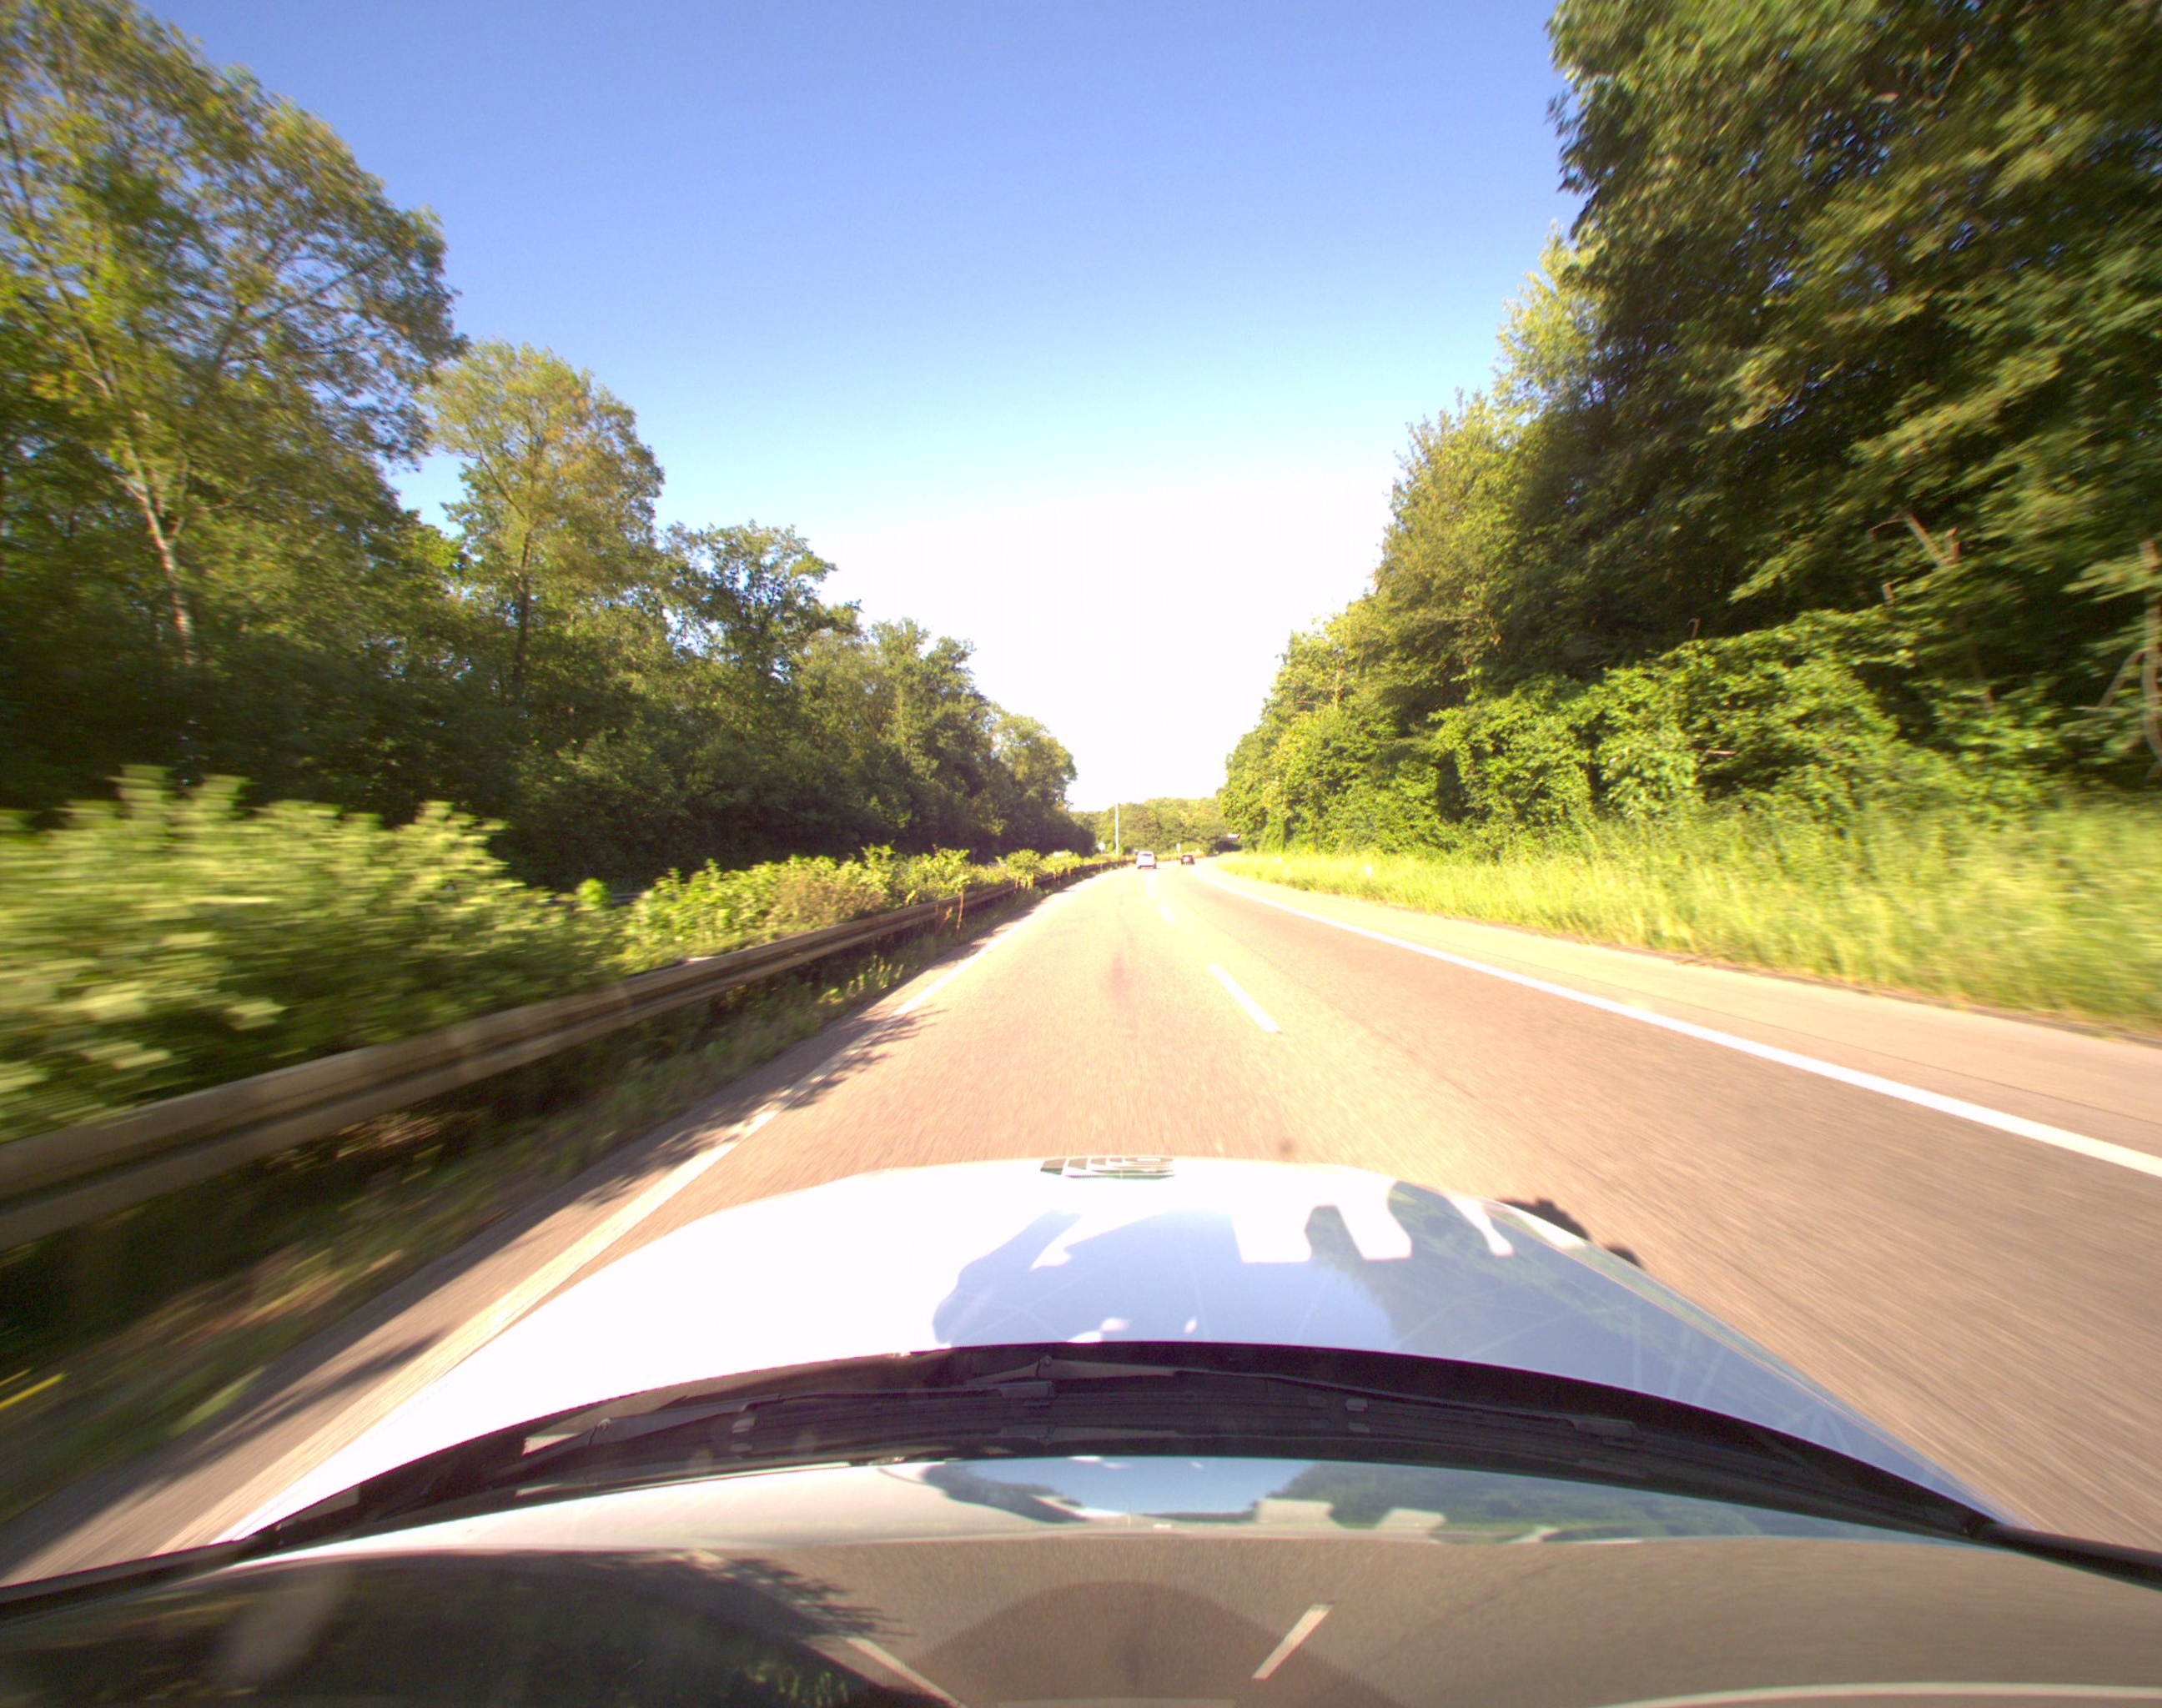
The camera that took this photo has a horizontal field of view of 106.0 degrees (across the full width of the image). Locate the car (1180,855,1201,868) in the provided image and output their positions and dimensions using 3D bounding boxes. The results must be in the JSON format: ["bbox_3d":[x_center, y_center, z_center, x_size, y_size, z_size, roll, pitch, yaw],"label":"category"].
[{"bbox_3d":[15.489,1.012,114.948,1.935,1.782,4.610,-1,-1,19],"label":"car"}]

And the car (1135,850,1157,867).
[{"bbox_3d":[6.741,0.499,85.095,1.944,1.782,4.588,0,-1,1],"label":"car"}]

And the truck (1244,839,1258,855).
[{"bbox_3d":[47.086,-1.856,225.619,3.709,4.343,9.336,-1,-1,13],"label":"truck"}]
